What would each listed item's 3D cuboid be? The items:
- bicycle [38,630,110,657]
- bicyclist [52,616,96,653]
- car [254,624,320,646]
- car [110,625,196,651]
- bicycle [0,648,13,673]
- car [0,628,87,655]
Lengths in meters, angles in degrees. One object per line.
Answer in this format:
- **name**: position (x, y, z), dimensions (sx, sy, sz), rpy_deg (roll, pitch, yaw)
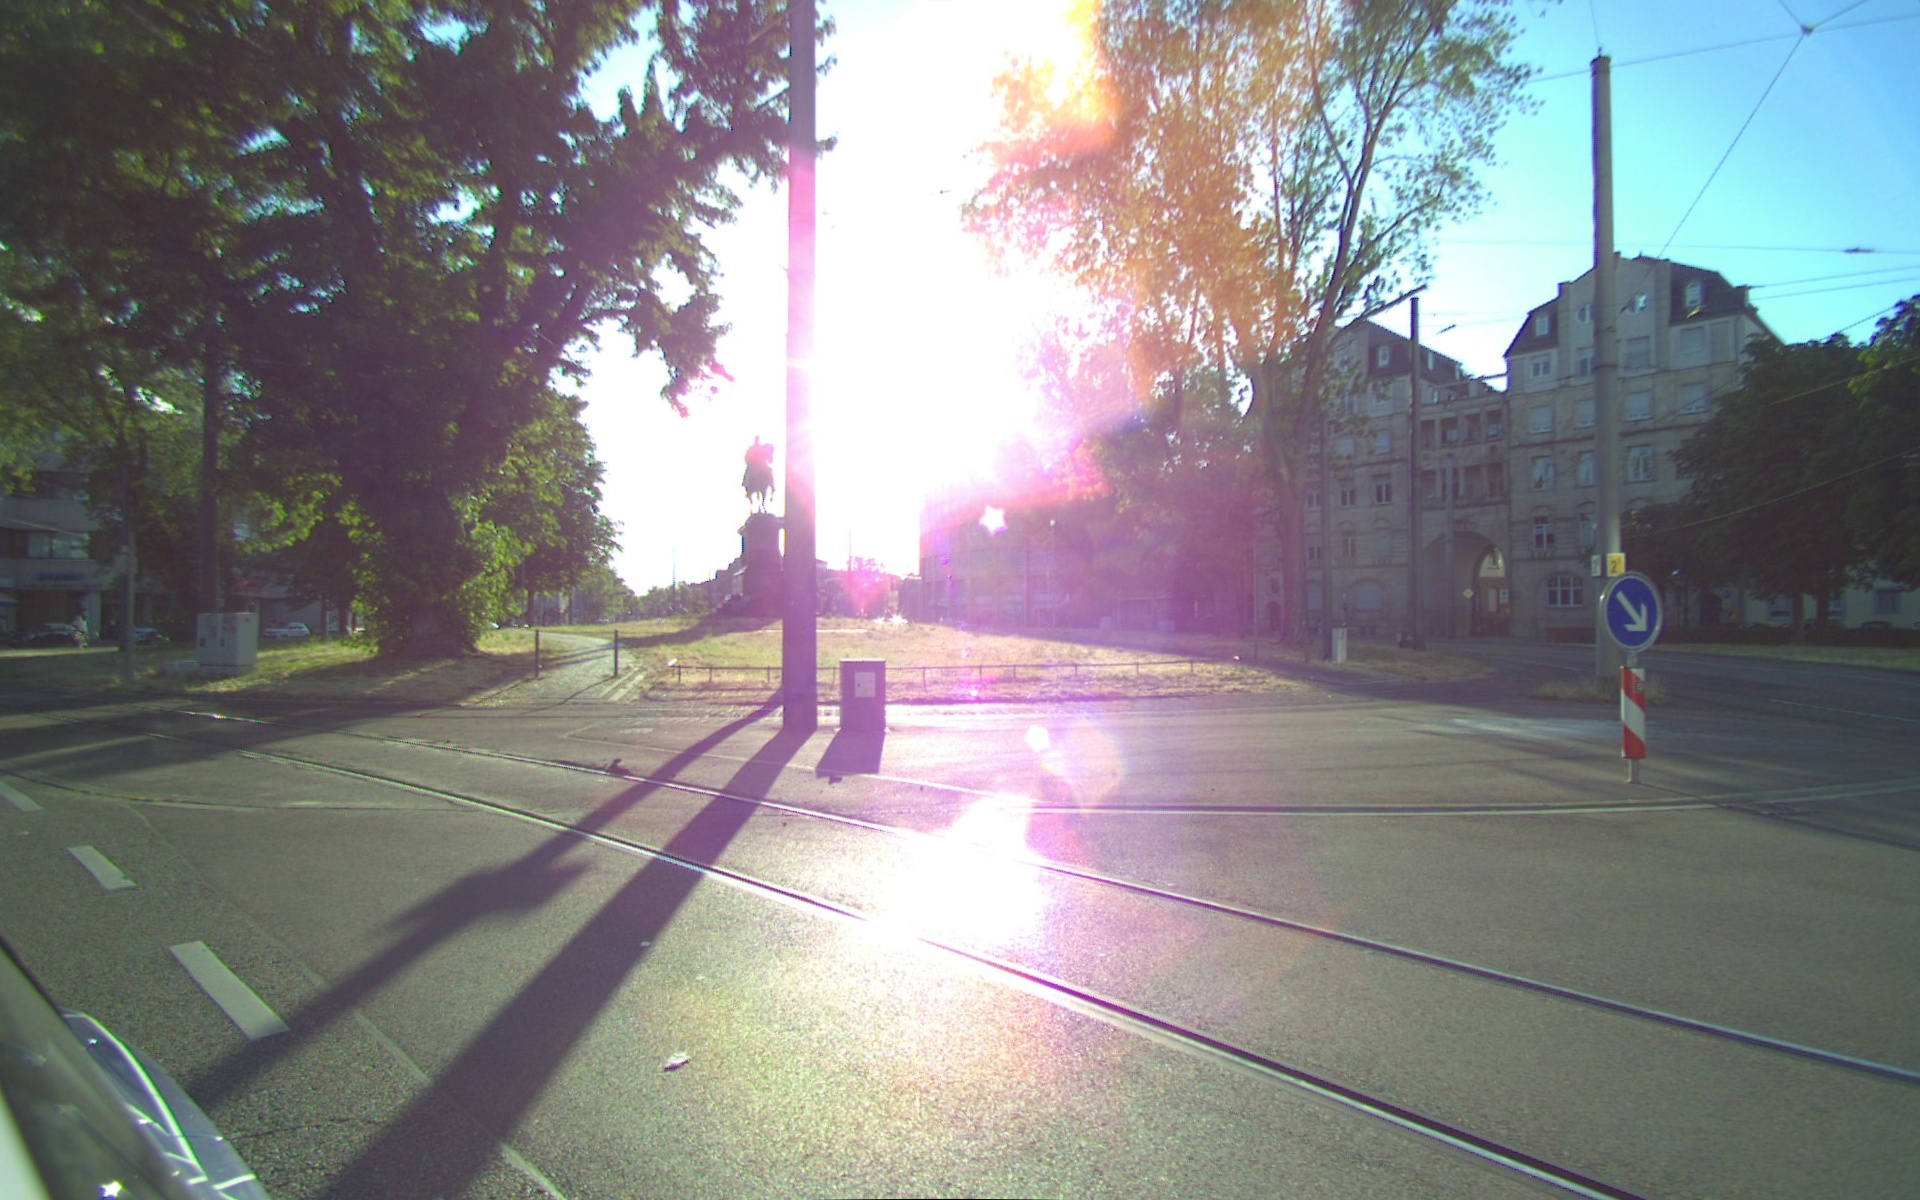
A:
- **bicycle**: position (-48.972, 2.373, 56.003), dimensions (1.254, 1.371, 3.242), rpy_deg (-1, -1, -1)
- **bicyclist**: position (-48.937, 1.902, 55.914), dimensions (1.219, 2.007, 1.367), rpy_deg (-1, -1, -1)
- **car**: position (-53.920, 2.820, 81.153), dimensions (1.976, 1.617, 4.513), rpy_deg (-1, -1, 7)
- **car**: position (-54.729, 2.562, 68.720), dimensions (1.976, 1.617, 4.513), rpy_deg (-1, -1, 7)
- **bicycle**: position (-44.219, 2.771, 45.566), dimensions (0.925, 1.084, 2.216), rpy_deg (-1, -1, 7)
- **car**: position (-55.259, 2.469, 60.940), dimensions (1.773, 1.453, 3.993), rpy_deg (-1, -1, 6)
